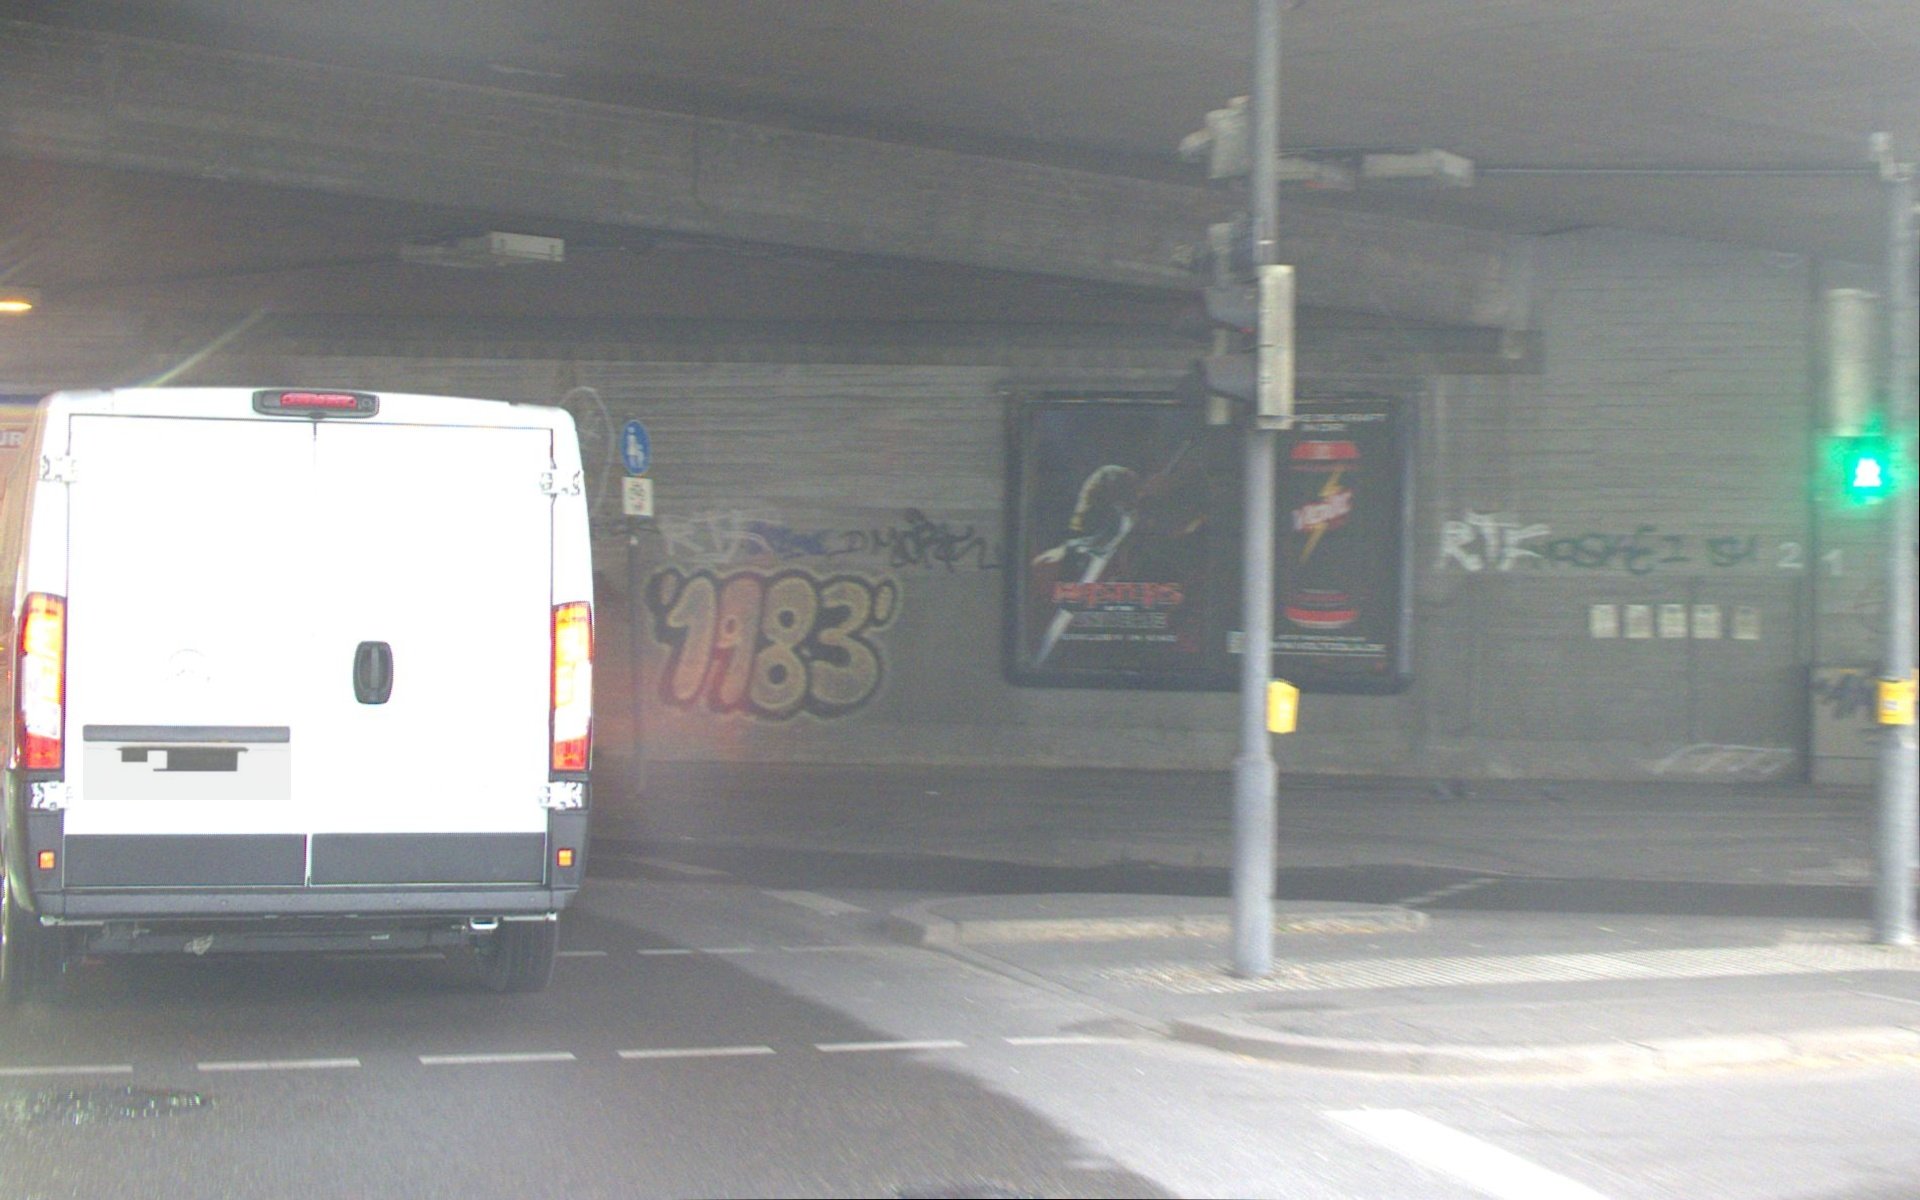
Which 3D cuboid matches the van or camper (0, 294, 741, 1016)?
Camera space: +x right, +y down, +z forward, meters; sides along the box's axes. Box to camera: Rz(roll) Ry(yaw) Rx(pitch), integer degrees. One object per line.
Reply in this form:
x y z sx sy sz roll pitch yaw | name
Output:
-2.792 0.253 14.163 2.697 2.409 4.904 1 -2 -17 | van or camper
